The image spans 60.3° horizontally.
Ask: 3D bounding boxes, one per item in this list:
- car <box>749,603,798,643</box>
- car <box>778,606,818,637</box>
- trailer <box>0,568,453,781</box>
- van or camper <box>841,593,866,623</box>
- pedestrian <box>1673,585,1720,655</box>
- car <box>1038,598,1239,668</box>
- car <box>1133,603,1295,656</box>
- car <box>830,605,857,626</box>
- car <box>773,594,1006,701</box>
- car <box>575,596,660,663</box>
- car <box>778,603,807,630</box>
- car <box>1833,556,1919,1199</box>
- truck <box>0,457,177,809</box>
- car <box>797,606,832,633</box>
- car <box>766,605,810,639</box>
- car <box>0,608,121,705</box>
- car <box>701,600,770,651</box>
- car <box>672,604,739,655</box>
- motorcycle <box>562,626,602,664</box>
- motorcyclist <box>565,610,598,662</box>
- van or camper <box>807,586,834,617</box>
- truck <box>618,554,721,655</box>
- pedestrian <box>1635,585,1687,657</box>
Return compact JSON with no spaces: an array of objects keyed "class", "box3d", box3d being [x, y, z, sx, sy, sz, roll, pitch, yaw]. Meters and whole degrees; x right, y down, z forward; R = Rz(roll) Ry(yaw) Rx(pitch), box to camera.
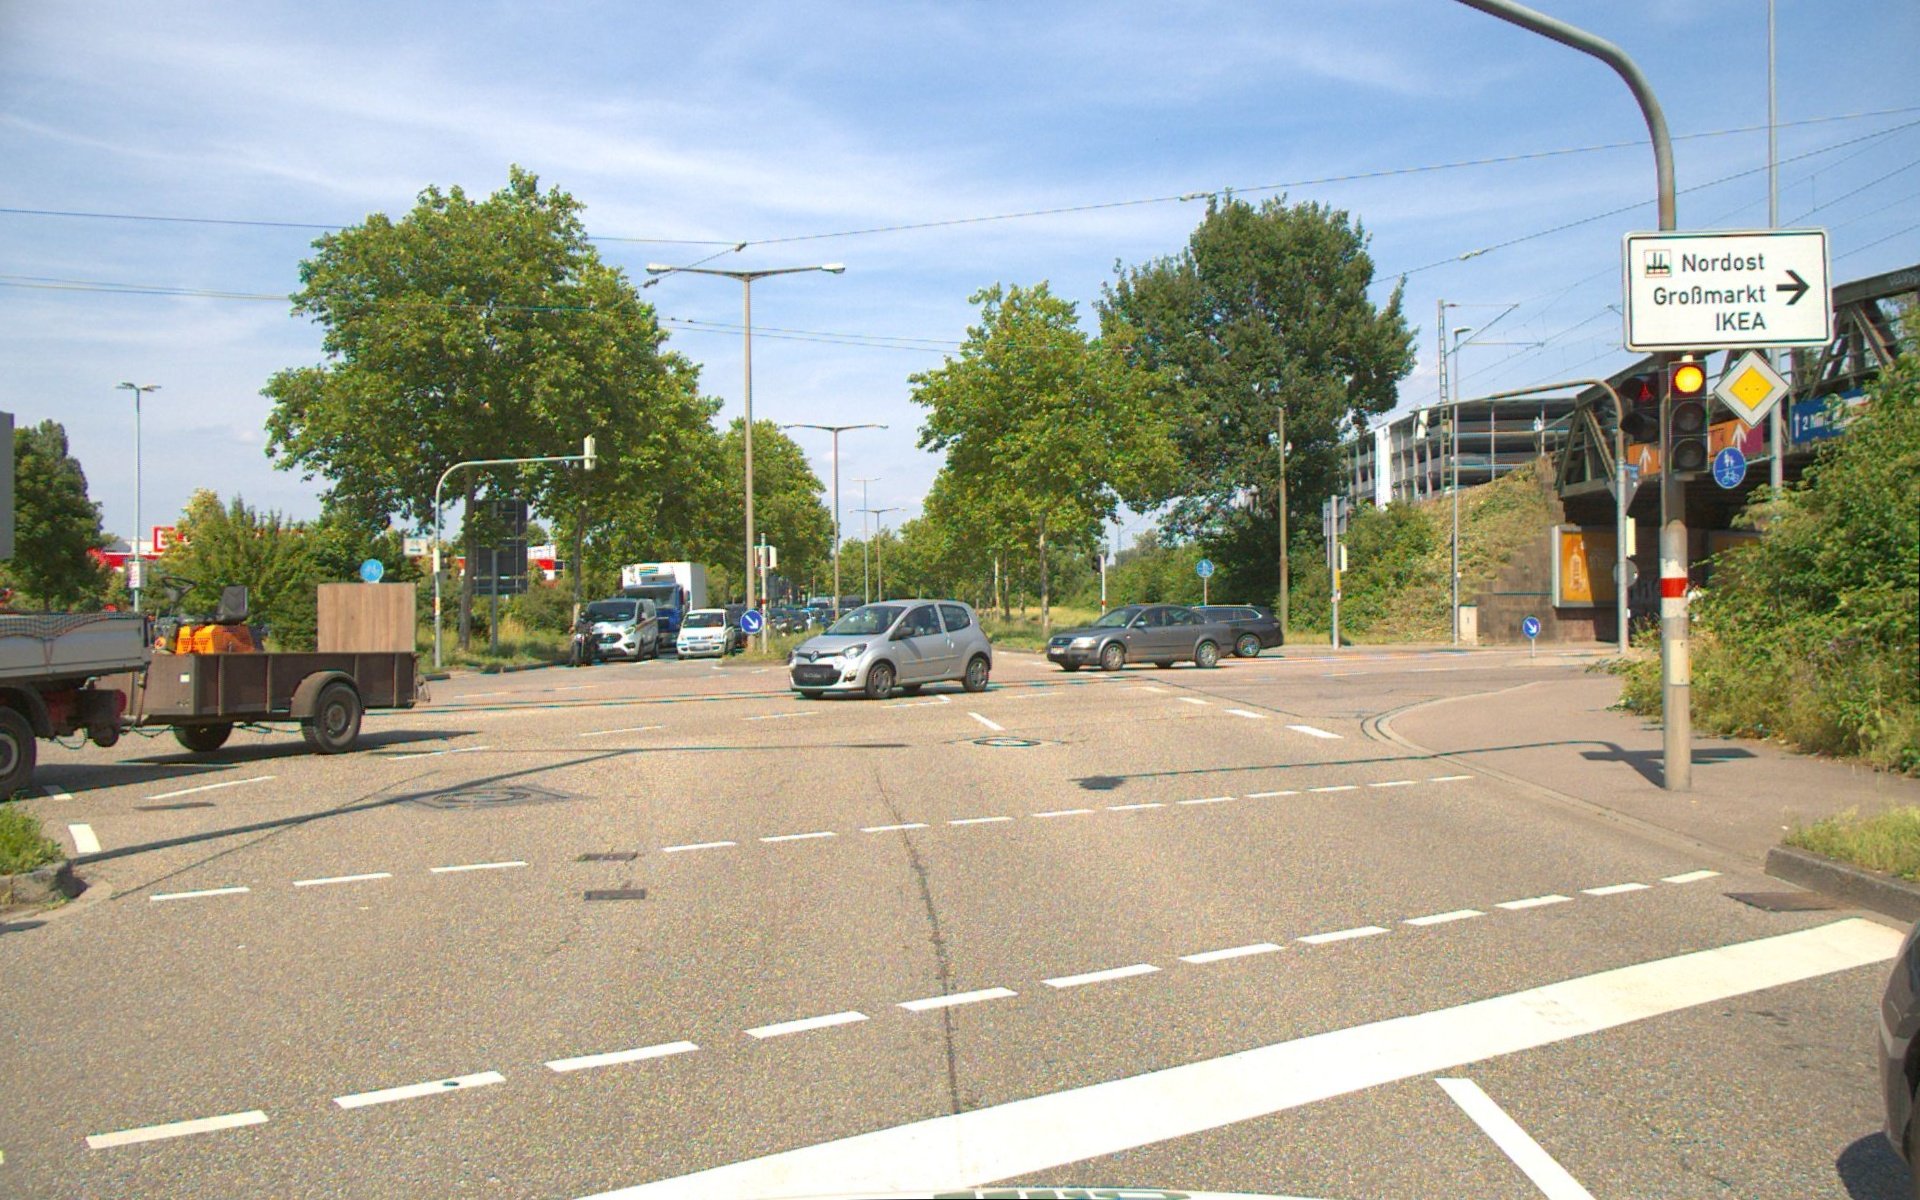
[{"class":"car","box3d":[-8.052,0.989,71.841,1.654,1.614,4.239,-2,0,-1]},{"class":"car","box3d":[-8.276,1.083,84.748,1.654,1.497,3.814,-2,0,-1]},{"class":"trailer","box3d":[-6.871,0.616,15.785,2.018,1.745,3.993,-1,0,16]},{"class":"van or camper","box3d":[-9.056,0.719,140.579,1.899,2.410,5.395,-2,-1,-2]},{"class":"pedestrian","box3d":[17.016,0.459,38.233,0.714,1.607,0.777,-1,0,-1]},{"class":"car","box3d":[4.007,0.697,36.847,4.403,1.436,1.622,-1,0,-31]},{"class":"car","box3d":[7.212,0.822,47.027,4.185,1.416,1.830,-1,0,-18]},{"class":"car","box3d":[-8.780,1.162,125.062,1.747,1.484,4.471,-2,0,-1]},{"class":"car","box3d":[-1.043,0.696,26.032,1.623,1.540,3.717,-1,0,39]},{"class":"car","box3d":[-10.935,0.900,53.163,1.937,2.034,5.028,-1,0,-3]},{"class":"car","box3d":[-12.015,1.170,118.723,1.654,1.891,4.035,-2,-1,-1]},{"class":"car","box3d":[3.016,0.650,2.089,1.640,1.479,4.035,1,0,-1]},{"class":"truck","box3d":[-8.330,0.253,10.394,2.094,2.518,7.134,-1,0,14]},{"class":"car","box3d":[-8.542,1.133,97.438,1.749,1.515,4.209,-2,0,-2]},{"class":"car","box3d":[-8.212,1.035,79.112,1.655,1.499,4.217,-3,0,-1]},{"class":"car","box3d":[-15.366,0.884,25.866,3.817,1.452,1.678,-1,0,-36]},{"class":"car","box3d":[-7.867,0.906,58.337,1.783,1.675,4.692,-2,-1,-1]},{"class":"car","box3d":[-8.029,0.918,52.453,1.560,1.503,3.728,-2,0,-1]},{"class":"motorcycle","box3d":[-10.958,1.291,47.988,0.674,1.009,2.217,-1,0,-1]},{"class":"motorcyclist","box3d":[-10.994,1.043,48.082,0.728,1.496,0.987,-1,0,-1]},{"class":"van or camper","box3d":[-12.439,0.129,147.703,1.974,2.633,5.516,-2,0,-1]},{"class":"truck","box3d":[-11.041,0.154,63.410,2.747,3.532,6.690,-3,0,-1]},{"class":"pedestrian","box3d":[16.146,0.472,38.114,0.850,1.640,0.777,-1,0,-1]}]
